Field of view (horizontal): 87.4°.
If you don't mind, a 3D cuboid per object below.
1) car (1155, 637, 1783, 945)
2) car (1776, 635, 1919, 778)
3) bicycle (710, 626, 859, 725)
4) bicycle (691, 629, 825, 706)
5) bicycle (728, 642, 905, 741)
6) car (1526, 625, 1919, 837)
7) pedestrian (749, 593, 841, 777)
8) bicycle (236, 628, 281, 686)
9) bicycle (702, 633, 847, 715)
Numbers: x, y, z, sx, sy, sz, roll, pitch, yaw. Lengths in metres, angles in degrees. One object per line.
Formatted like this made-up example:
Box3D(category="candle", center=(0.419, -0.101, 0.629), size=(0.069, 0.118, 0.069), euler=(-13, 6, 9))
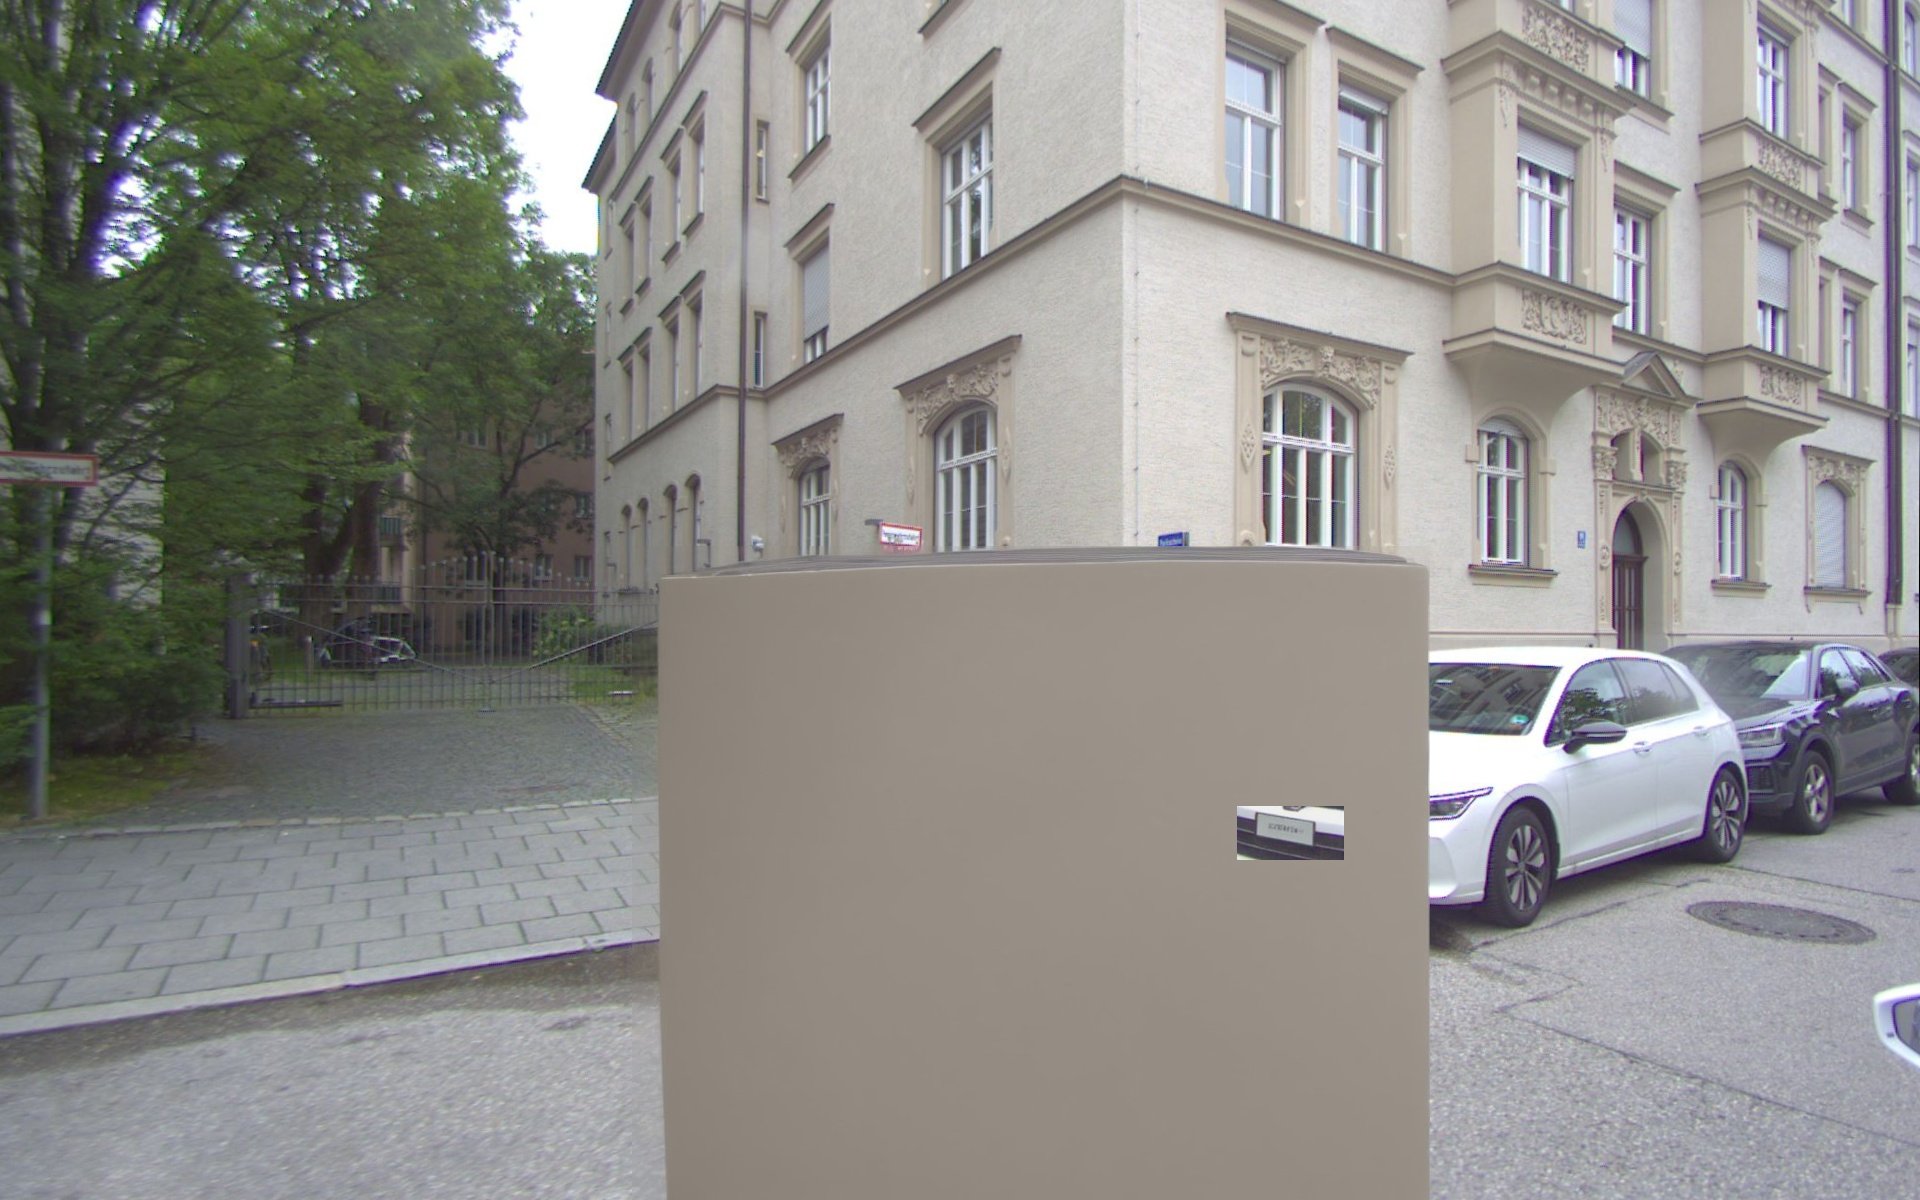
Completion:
Box3D(category="car", center=(3.485, 0.994, 6.681), size=(4.198, 1.452, 1.827), euler=(1, -3, -32))
Box3D(category="car", center=(11.544, 1.145, 11.667), size=(4.503, 1.452, 1.824), euler=(1, -3, -32))
Box3D(category="bicycle", center=(-2.264, 0.948, 13.029), size=(1.796, 1.107, 0.610), euler=(-2, 2, -28))
Box3D(category="bicycle", center=(-2.910, 0.949, 14.523), size=(1.809, 1.011, 0.551), euler=(-1, 0, -29))
Box3D(category="bicycle", center=(-1.698, 1.061, 11.996), size=(1.983, 0.973, 0.691), euler=(-2, 3, -28))
Box3D(category="car", center=(7.287, 1.058, 9.236), size=(4.337, 1.537, 1.761), euler=(1, -5, -33))
Box3D(category="pedestrian", center=(-1.563, 0.779, 9.467), size=(0.624, 1.647, 0.669), euler=(2, -2, -33))
Box3D(category="bicycle", center=(-12.704, 1.022, 18.206), size=(0.469, 1.005, 1.430), euler=(1, -2, -28))
Box3D(category="bicycle", center=(-2.547, 0.991, 13.850), size=(1.883, 1.017, 0.582), euler=(-1, 1, -28))
